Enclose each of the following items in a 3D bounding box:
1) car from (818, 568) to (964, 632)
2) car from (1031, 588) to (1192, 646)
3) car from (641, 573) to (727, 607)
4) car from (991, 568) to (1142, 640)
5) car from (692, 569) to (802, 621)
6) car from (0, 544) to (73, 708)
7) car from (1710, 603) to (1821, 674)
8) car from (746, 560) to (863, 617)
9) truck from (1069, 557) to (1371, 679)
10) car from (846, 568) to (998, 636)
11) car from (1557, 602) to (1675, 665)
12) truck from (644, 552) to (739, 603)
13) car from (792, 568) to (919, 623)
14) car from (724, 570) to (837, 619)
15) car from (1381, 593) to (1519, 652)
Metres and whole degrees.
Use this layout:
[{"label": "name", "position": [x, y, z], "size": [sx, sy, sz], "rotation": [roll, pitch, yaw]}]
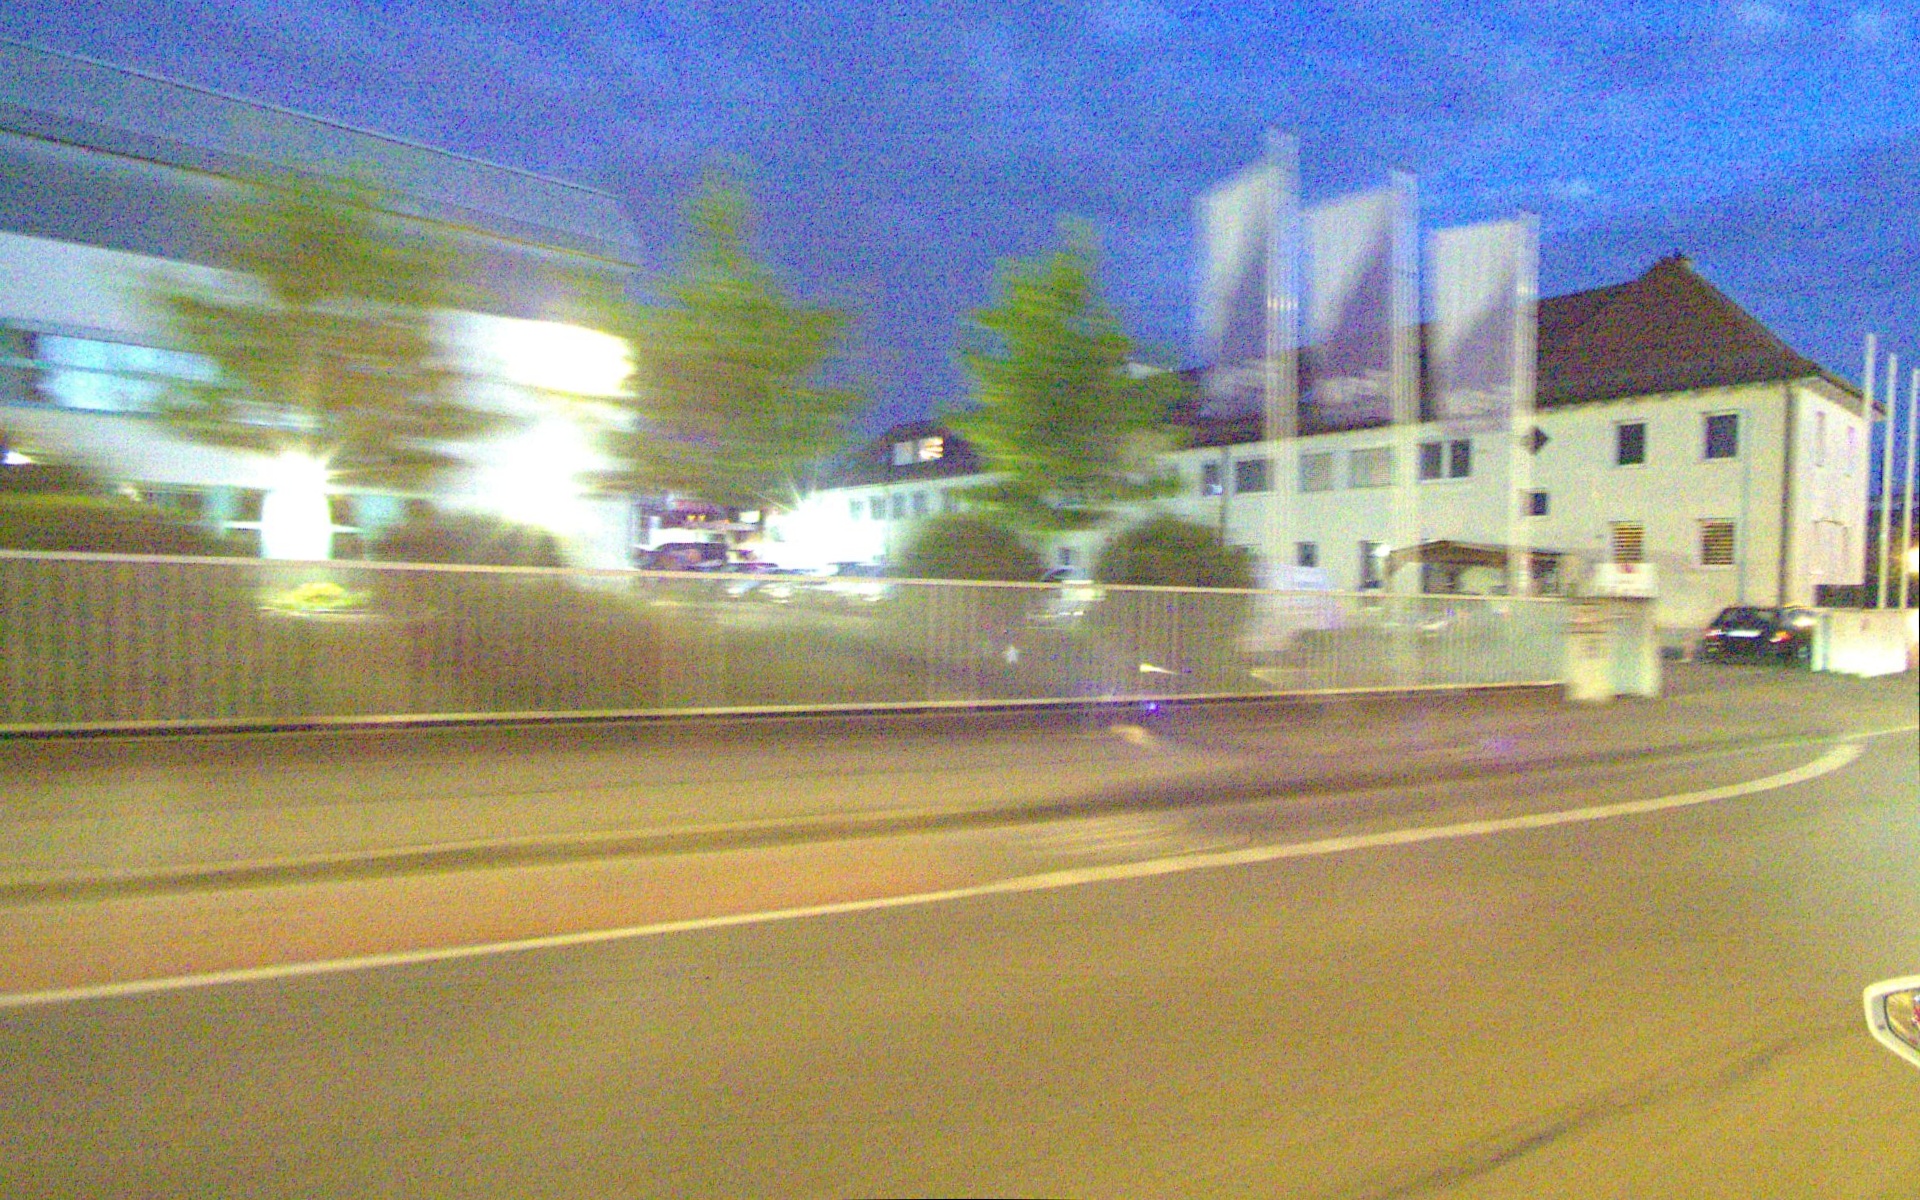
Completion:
[{"label": "car", "position": [-2.543, 0.032, 37.928], "size": [5.368, 2.265, 2.002], "rotation": [1, 1, -41]}, {"label": "car", "position": [4.301, 0.469, 28.231], "size": [4.576, 1.483, 1.827], "rotation": [1, 1, -38]}, {"label": "car", "position": [-14.081, -0.471, 51.291], "size": [3.956, 1.595, 1.723], "rotation": [1, -1, -32]}, {"label": "car", "position": [3.319, 0.130, 30.765], "size": [4.652, 2.040, 1.976], "rotation": [1, 1, -42]}, {"label": "car", "position": [-9.909, -0.198, 46.977], "size": [4.751, 2.275, 1.865], "rotation": [1, -1, -40]}, {"label": "car", "position": [-11.771, 0.245, 11.243], "size": [1.977, 1.795, 4.105], "rotation": [2, 0, -31]}, {"label": "car", "position": [19.539, 0.858, 24.302], "size": [1.807, 1.514, 4.503], "rotation": [2, 1, 42]}, {"label": "car", "position": [-6.684, -0.438, 43.459], "size": [4.751, 2.275, 1.865], "rotation": [1, -1, -40]}, {"label": "truck", "position": [4.706, 0.323, 18.000], "size": [5.249, 1.925, 1.986], "rotation": [1, 1, -28]}, {"label": "car", "position": [-1.285, 0.081, 36.072], "size": [5.368, 2.265, 2.002], "rotation": [1, 1, -41]}, {"label": "car", "position": [17.726, 0.842, 27.056], "size": [1.809, 1.514, 4.499], "rotation": [2, 1, 44]}, {"label": "truck", "position": [-14.460, -1.195, 54.157], "size": [4.480, 2.573, 1.980], "rotation": [1, 1, -36]}, {"label": "car", "position": [-4.081, -0.121, 39.594], "size": [4.751, 2.040, 1.865], "rotation": [1, -1, -40]}, {"label": "car", "position": [-8.061, -0.184, 45.480], "size": [4.751, 2.079, 1.865], "rotation": [1, -1, -40]}, {"label": "car", "position": [14.720, 0.662, 30.046], "size": [4.913, 1.602, 1.813], "rotation": [1, 1, -39]}]
